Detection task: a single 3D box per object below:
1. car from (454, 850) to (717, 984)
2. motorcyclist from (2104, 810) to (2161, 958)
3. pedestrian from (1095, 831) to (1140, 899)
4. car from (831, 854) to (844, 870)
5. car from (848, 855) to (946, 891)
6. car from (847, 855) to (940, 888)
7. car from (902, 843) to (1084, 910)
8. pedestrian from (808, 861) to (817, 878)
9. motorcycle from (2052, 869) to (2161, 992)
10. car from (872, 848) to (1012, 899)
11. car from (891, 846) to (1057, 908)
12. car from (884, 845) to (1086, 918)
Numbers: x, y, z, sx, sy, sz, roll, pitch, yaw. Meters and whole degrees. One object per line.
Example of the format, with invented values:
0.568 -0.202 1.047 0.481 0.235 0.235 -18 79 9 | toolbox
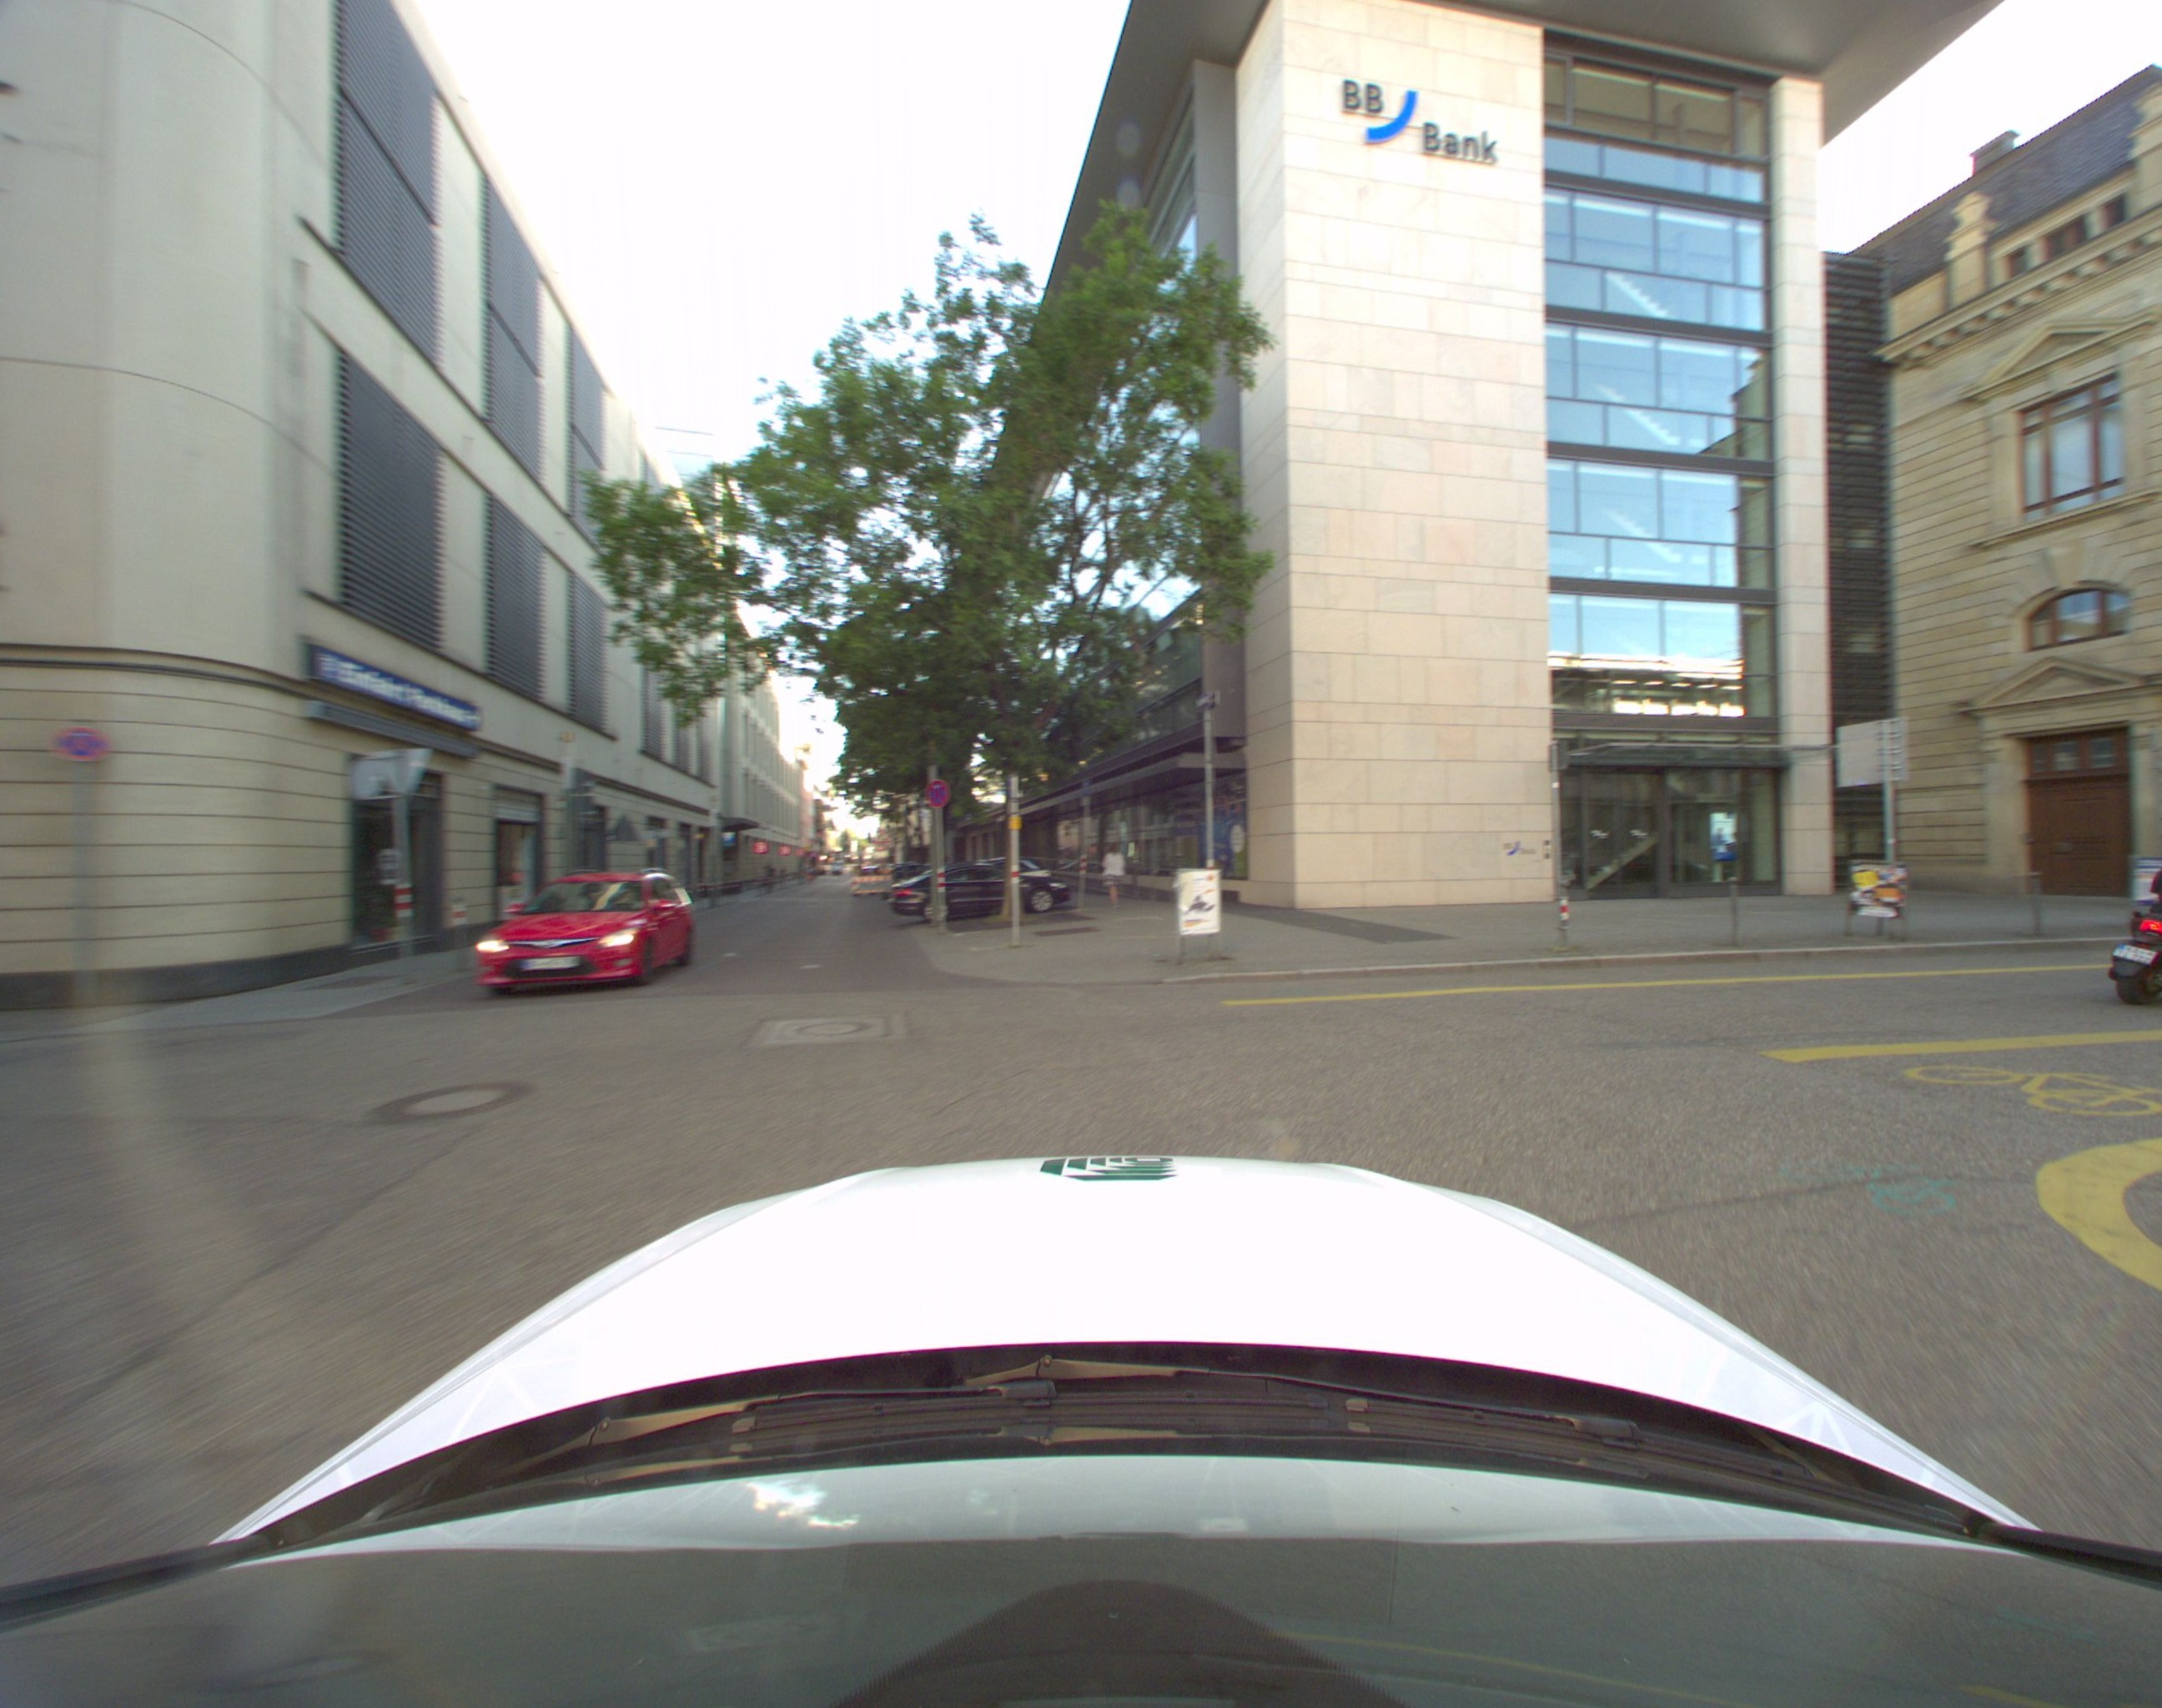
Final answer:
-6.538 0.771 11.352 1.824 1.465 4.245 -1 -2 -12 | car
10.619 0.287 7.821 0.453 1.427 0.869 0 -1 -3 | motorcyclist
0.948 0.284 21.407 0.906 1.706 0.830 -4 0 -13 | pedestrian
-38.269 1.263 128.050 1.998 2.329 4.992 1 -1 -17 | car
-10.114 1.016 44.679 5.017 1.499 1.988 -5 0 -17 | car
-10.866 0.990 47.100 5.017 1.499 1.988 -5 0 -17 | car
-2.638 0.636 24.238 5.017 1.499 1.988 -5 0 -17 | car
-24.624 1.387 74.676 0.733 1.574 0.633 0 -1 -14 | pedestrian
10.692 0.697 7.812 1.831 1.109 0.874 0 -1 -5 | motorcycle
-5.365 0.722 31.369 5.017 1.499 1.988 -5 0 -17 | car
-3.479 0.705 26.433 5.017 1.499 1.988 -5 0 -17 | car
-2.587 0.684 21.763 5.017 1.451 1.988 -5 0 -17 | car
